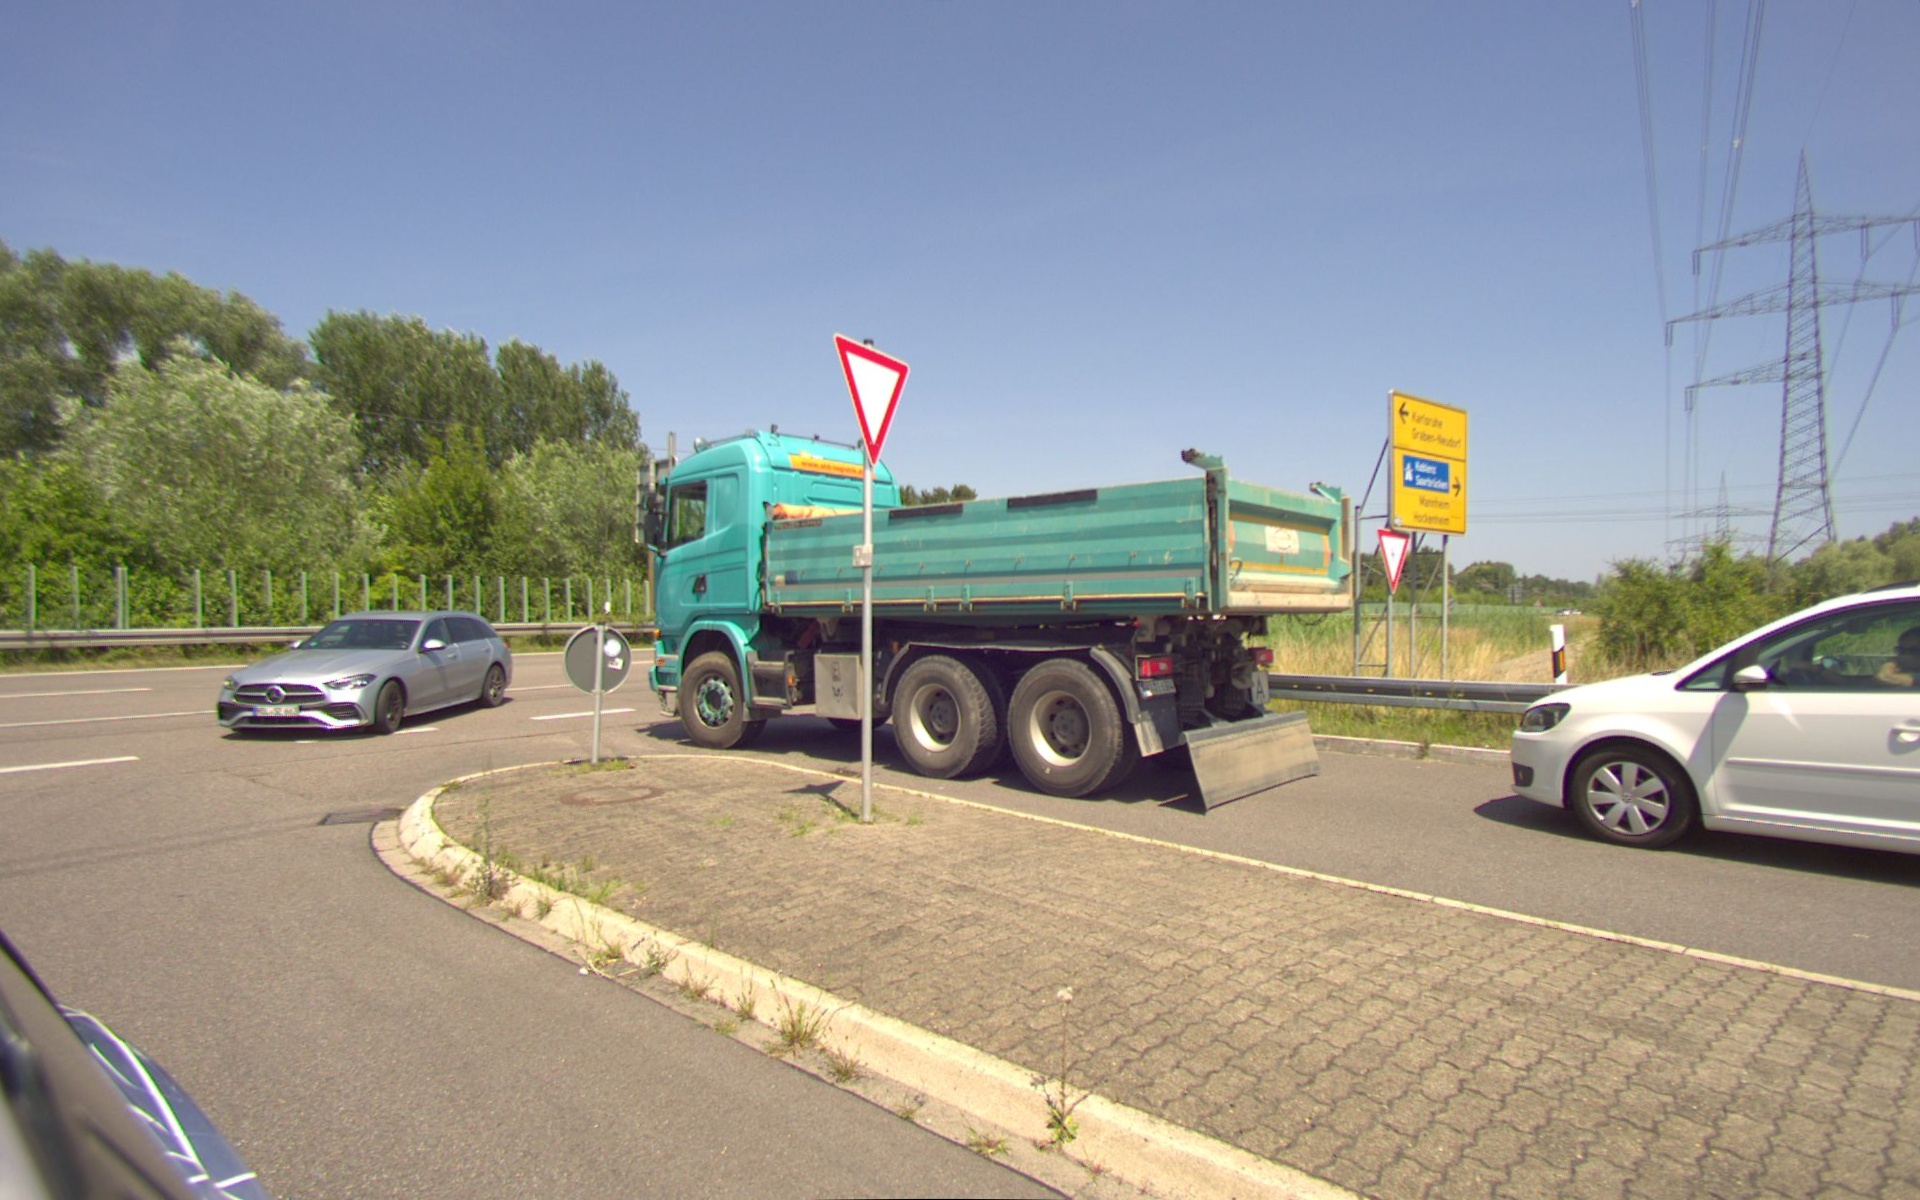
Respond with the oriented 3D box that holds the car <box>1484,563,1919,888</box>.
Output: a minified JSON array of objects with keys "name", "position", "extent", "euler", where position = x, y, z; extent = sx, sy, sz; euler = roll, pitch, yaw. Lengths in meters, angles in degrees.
[{"name":"car","position":[5.533,0.606,5.575],"extent":[1.750,1.633,4.336],"euler":[-2,0,-41]}]

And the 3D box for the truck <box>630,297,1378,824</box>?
[{"name":"truck","position":[-0.142,-0.180,10.195],"extent":[7.606,3.498,2.574],"euler":[-2,-2,41]}]

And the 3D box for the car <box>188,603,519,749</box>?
[{"name":"car","position":[-7.707,0.853,13.414],"extent":[1.801,1.498,4.147],"euler":[2,1,1]}]
